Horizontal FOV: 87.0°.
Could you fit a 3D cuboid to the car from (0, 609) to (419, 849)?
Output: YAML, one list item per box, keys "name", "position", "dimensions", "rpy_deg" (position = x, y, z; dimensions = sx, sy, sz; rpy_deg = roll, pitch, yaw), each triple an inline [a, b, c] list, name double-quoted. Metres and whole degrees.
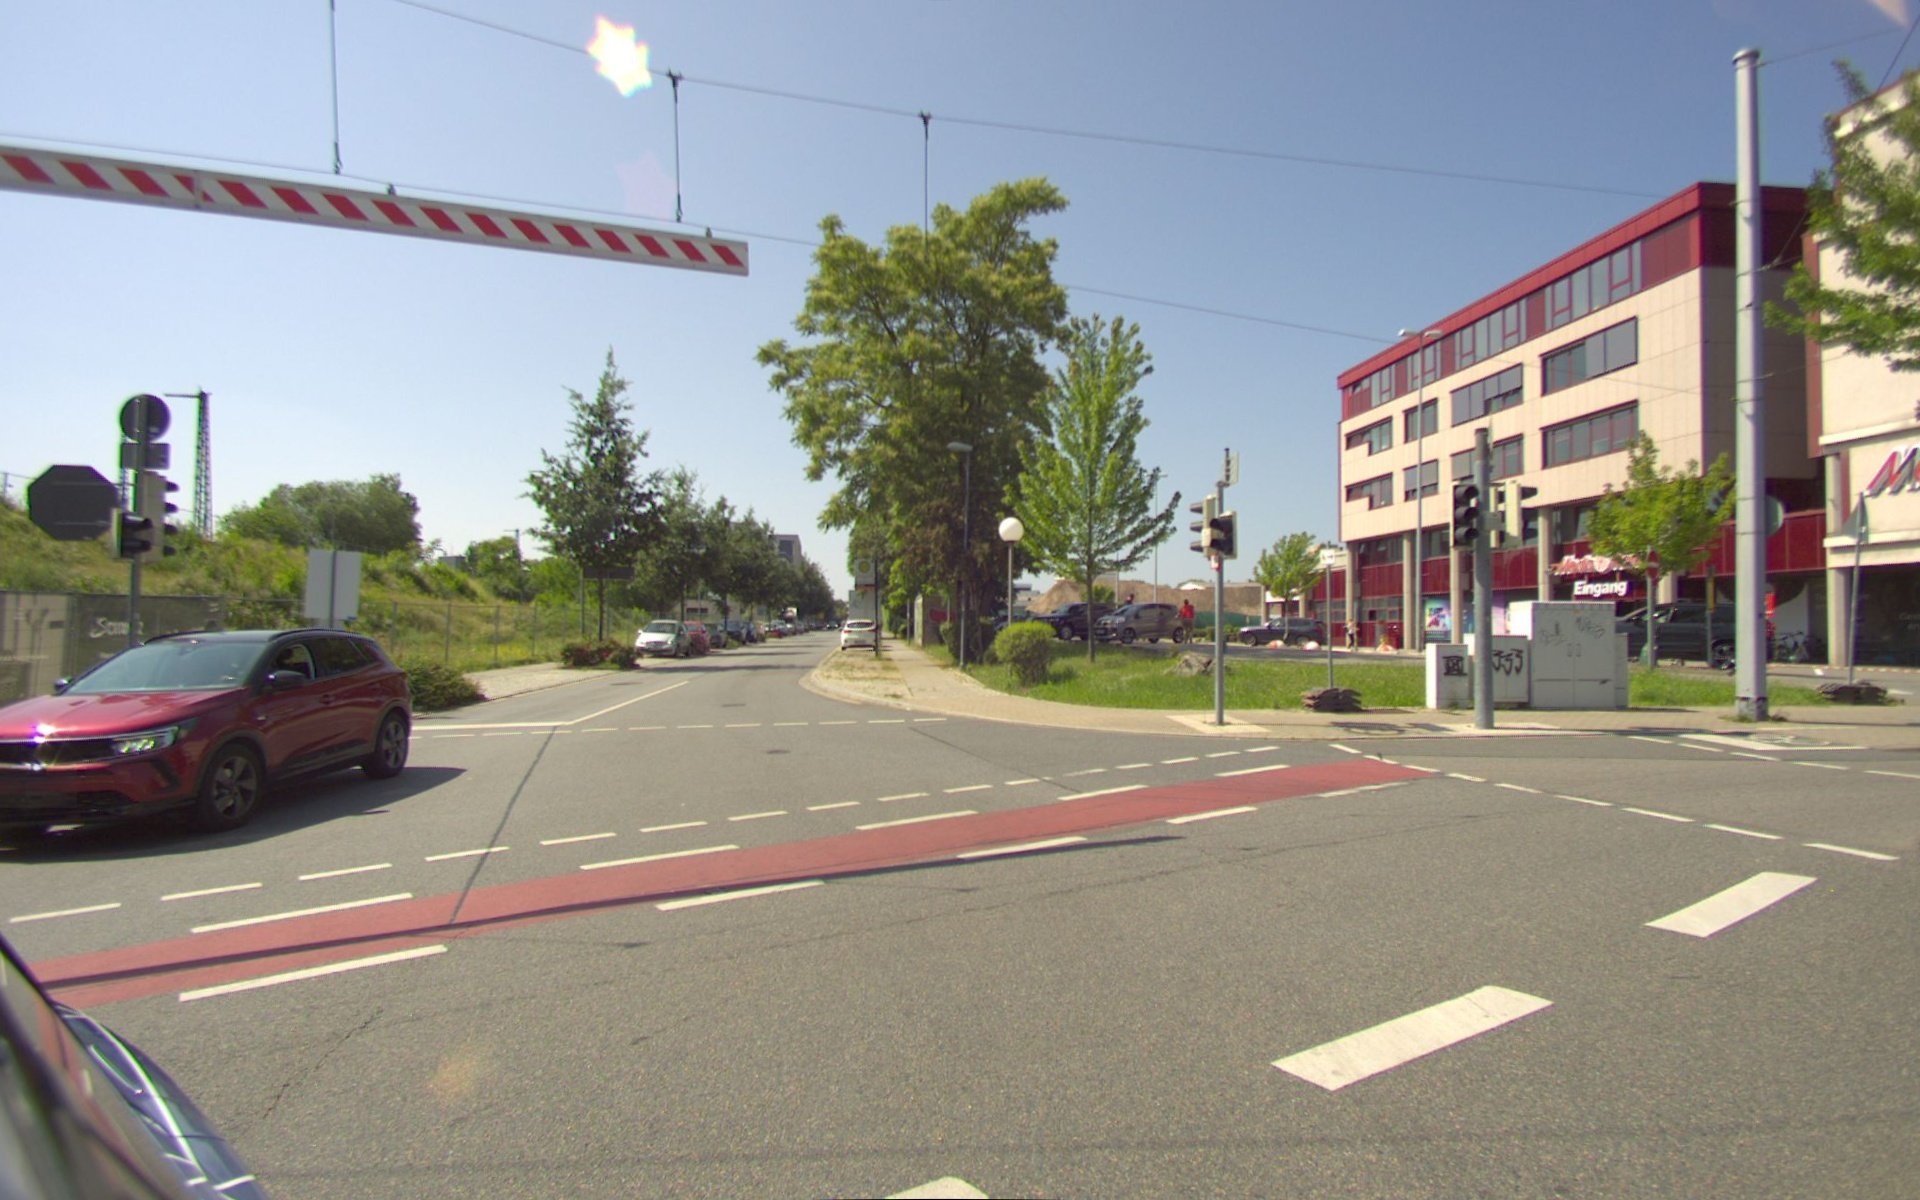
- name: "car"
  position: [-6.727, 0.968, 9.071]
  dimensions: [1.795, 1.616, 4.312]
  rpy_deg: [-1, -2, -5]

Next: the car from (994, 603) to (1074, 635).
- name: "car"
  position: [4.475, 1.156, 60.929]
  dimensions: [4.638, 1.818, 2.005]
  rpy_deg: [1, -3, -36]

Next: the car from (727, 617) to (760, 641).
- name: "car"
  position: [-15.484, 2.106, 72.489]
  dimensions: [1.820, 1.628, 4.005]
  rpy_deg: [2, -2, -6]

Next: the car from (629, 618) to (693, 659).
- name: "car"
  position: [-13.062, 1.673, 44.481]
  dimensions: [1.820, 1.628, 4.375]
  rpy_deg: [3, -2, -6]

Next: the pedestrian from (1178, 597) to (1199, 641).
- name: "pedestrian"
  position: [8.135, 0.690, 36.090]
  dimensions: [0.561, 1.539, 0.750]
  rpy_deg: [-1, -2, 26]

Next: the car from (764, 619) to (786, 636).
- name: "car"
  position: [-18.377, 2.761, 100.875]
  dimensions: [1.820, 1.628, 4.005]
  rpy_deg: [1, -2, -6]

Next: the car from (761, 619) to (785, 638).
- name: "car"
  position: [-17.174, 2.640, 92.996]
  dimensions: [1.820, 1.628, 4.005]
  rpy_deg: [1, -2, -6]

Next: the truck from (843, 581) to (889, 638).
- name: "truck"
  position: [-7.440, 0.836, 80.394]
  dimensions: [3.305, 4.175, 9.288]
  rpy_deg: [-2, -1, -5]

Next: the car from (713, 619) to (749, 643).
- name: "car"
  position: [-14.947, 2.006, 66.179]
  dimensions: [1.841, 1.554, 4.005]
  rpy_deg: [0, -1, -6]

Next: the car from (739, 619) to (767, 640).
- name: "car"
  position: [-17.173, 2.465, 83.968]
  dimensions: [1.820, 1.628, 4.005]
  rpy_deg: [1, -2, -6]

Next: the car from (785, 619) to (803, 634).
- name: "car"
  position: [-19.598, 3.148, 119.484]
  dimensions: [1.820, 1.628, 4.005]
  rpy_deg: [1, -2, -6]

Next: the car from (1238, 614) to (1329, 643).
- name: "car"
  position: [17.021, 1.491, 53.293]
  dimensions: [4.234, 1.462, 1.701]
  rpy_deg: [-2, -2, 38]

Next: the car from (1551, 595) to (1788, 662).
- name: "car"
  position: [19.081, 0.757, 27.585]
  dimensions: [5.099, 1.606, 2.163]
  rpy_deg: [1, -2, 32]

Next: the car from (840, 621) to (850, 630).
- name: "car"
  position: [-23.404, 5.104, 205.858]
  dimensions: [1.765, 1.807, 4.004]
  rpy_deg: [0, -1, -4]

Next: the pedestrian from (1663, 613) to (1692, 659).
- name: "pedestrian"
  position: [21.722, 1.077, 30.640]
  dimensions: [0.455, 1.366, 0.522]
  rpy_deg: [0, -1, -12]

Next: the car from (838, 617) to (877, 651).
- name: "car"
  position: [-4.920, 1.600, 48.360]
  dimensions: [1.739, 1.504, 4.006]
  rpy_deg: [-2, -1, -7]

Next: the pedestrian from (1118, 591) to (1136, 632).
- name: "pedestrian"
  position: [6.360, 0.459, 38.550]
  dimensions: [0.559, 1.539, 0.752]
  rpy_deg: [-1, -2, 16]

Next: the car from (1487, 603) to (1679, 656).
- name: "car"
  position: [19.001, 0.862, 30.980]
  dimensions: [4.862, 1.504, 1.894]
  rpy_deg: [0, -1, 38]

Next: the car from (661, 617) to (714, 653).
- name: "car"
  position: [-13.102, 1.687, 48.853]
  dimensions: [1.820, 1.628, 4.005]
  rpy_deg: [2, -2, -6]

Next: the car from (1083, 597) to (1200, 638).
- name: "car"
  position: [6.628, 0.643, 36.992]
  dimensions: [3.921, 1.348, 1.724]
  rpy_deg: [-1, -1, -26]

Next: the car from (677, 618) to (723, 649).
- name: "car"
  position: [-14.402, 1.858, 56.253]
  dimensions: [1.820, 1.628, 4.005]
  rpy_deg: [2, -2, -6]

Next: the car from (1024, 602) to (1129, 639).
- name: "car"
  position: [5.263, 0.905, 45.517]
  dimensions: [4.739, 1.504, 1.856]
  rpy_deg: [-1, -1, -38]
